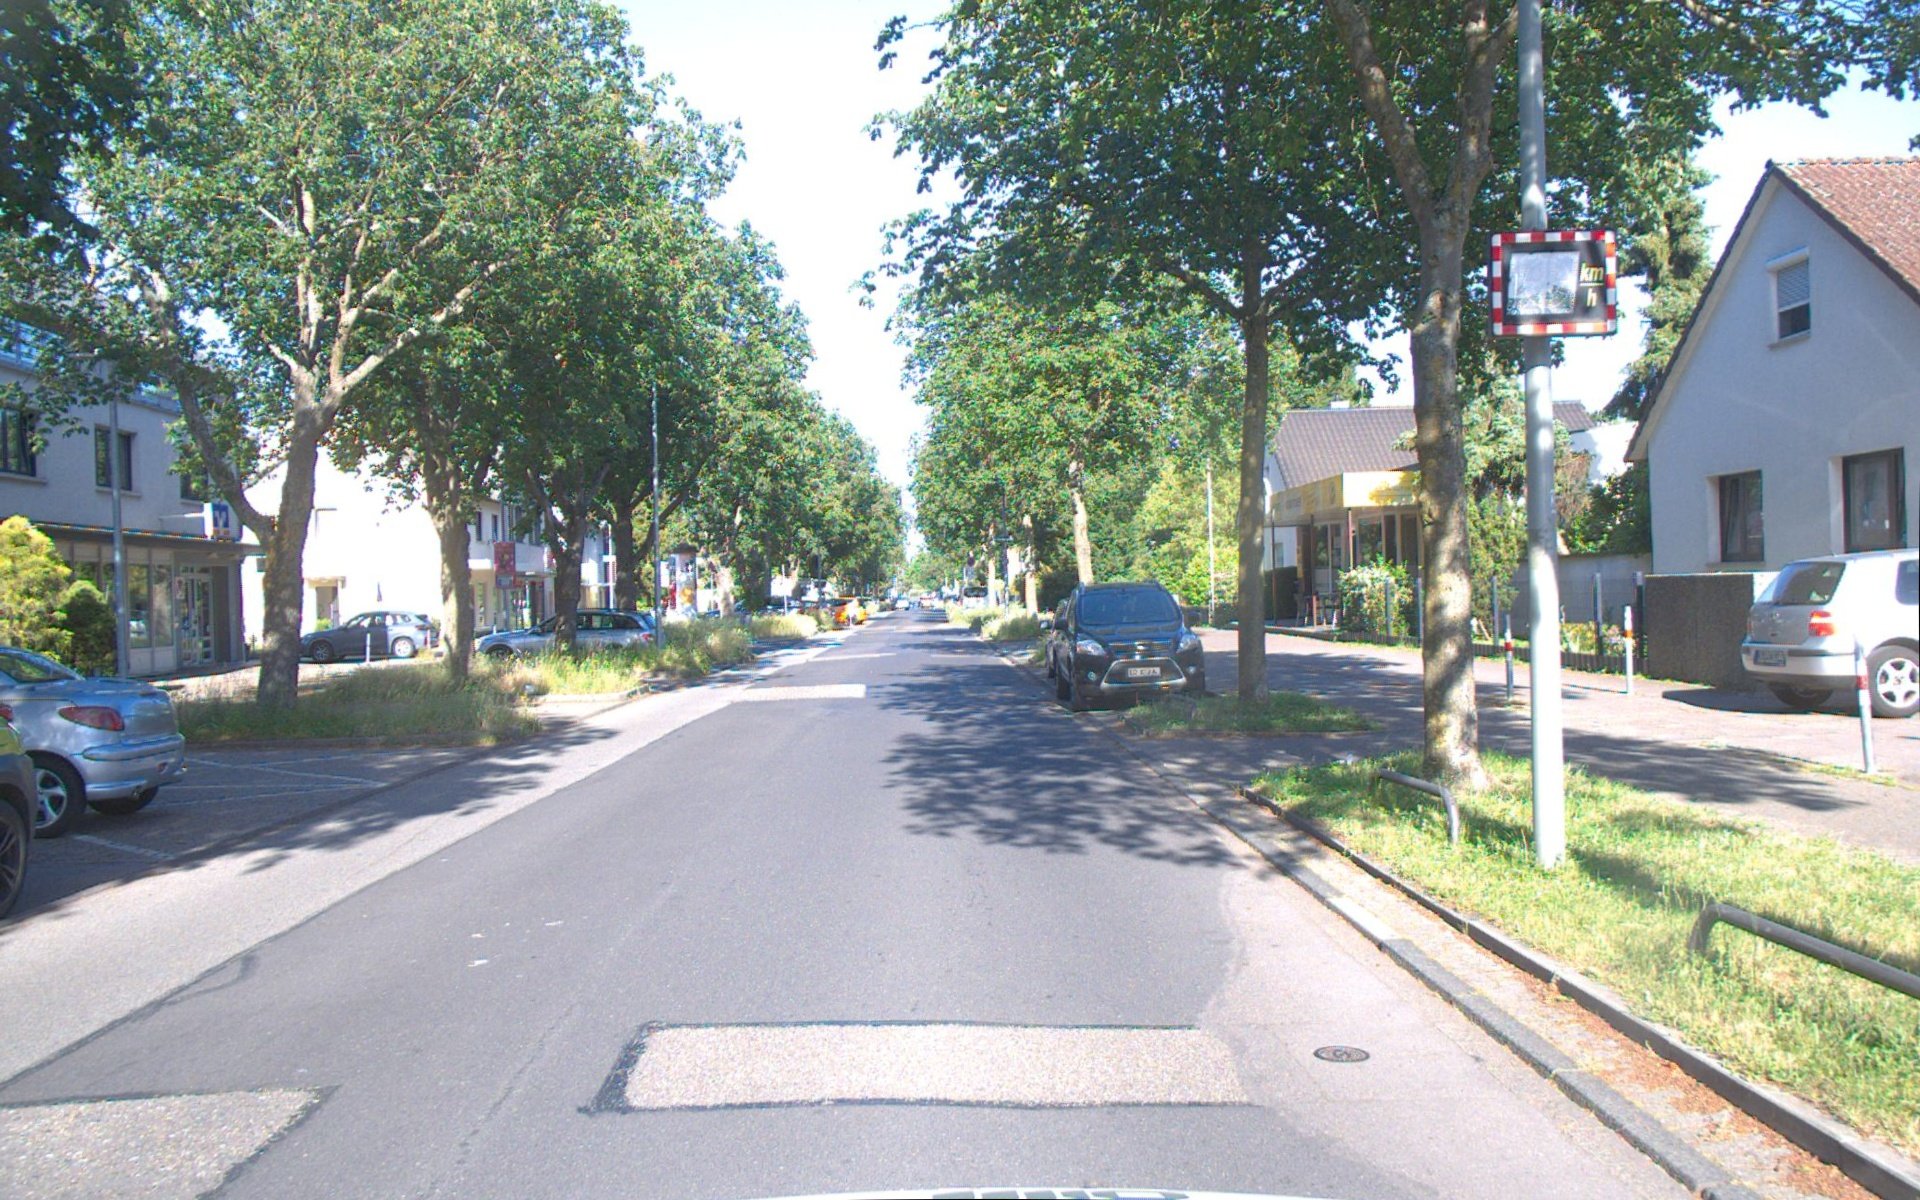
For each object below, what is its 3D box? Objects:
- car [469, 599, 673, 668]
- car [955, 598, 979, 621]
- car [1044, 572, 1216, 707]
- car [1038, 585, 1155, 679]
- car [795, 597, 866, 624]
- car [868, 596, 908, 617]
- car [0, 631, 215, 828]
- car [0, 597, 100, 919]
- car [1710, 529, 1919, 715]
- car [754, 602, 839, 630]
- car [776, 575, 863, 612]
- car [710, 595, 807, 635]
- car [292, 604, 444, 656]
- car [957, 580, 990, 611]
[{"bbox_3d":[-9.277,0.781,39.716,4.462,1.537,1.841,0,1,-2],"label":"car"},{"bbox_3d":[0.569,0.748,134.796,1.864,1.805,4.300,0,0,-1],"label":"car"},{"bbox_3d":[2.311,0.528,23.622,1.816,1.654,4.468,-3,0,-1],"label":"car"},{"bbox_3d":[2.414,0.551,30.117,1.663,1.504,3.887,-3,0,-1],"label":"car"},{"bbox_3d":[-7.469,0.607,95.547,3.793,1.505,1.895,1,0,4],"label":"car"},{"bbox_3d":[-7.334,0.644,168.448,3.903,2.048,2.001,0,1,3],"label":"car"},{"bbox_3d":[-7.846,0.940,12.490,3.689,1.324,1.611,0,1,-2],"label":"car"},{"bbox_3d":[-5.830,0.791,7.186,1.899,1.637,4.383,0,-1,0],"label":"car"},{"bbox_3d":[9.384,0.095,15.395,3.908,1.514,1.901,-3,2,-3],"label":"car"},{"bbox_3d":[-8.217,0.794,83.363,4.204,1.338,1.907,0,2,-6],"label":"car"},{"bbox_3d":[-8.885,-0.436,105.238,5.388,2.286,2.516,0,1,-3],"label":"car"},{"bbox_3d":[-9.380,0.690,77.307,4.458,1.796,1.998,0,1,-6],"label":"car"},{"bbox_3d":[-20.004,0.983,56.060,4.466,1.646,1.998,0,1,-5],"label":"car"},{"bbox_3d":[0.763,-0.254,96.412,1.864,1.805,4.300,0,0,-1],"label":"car"}]
